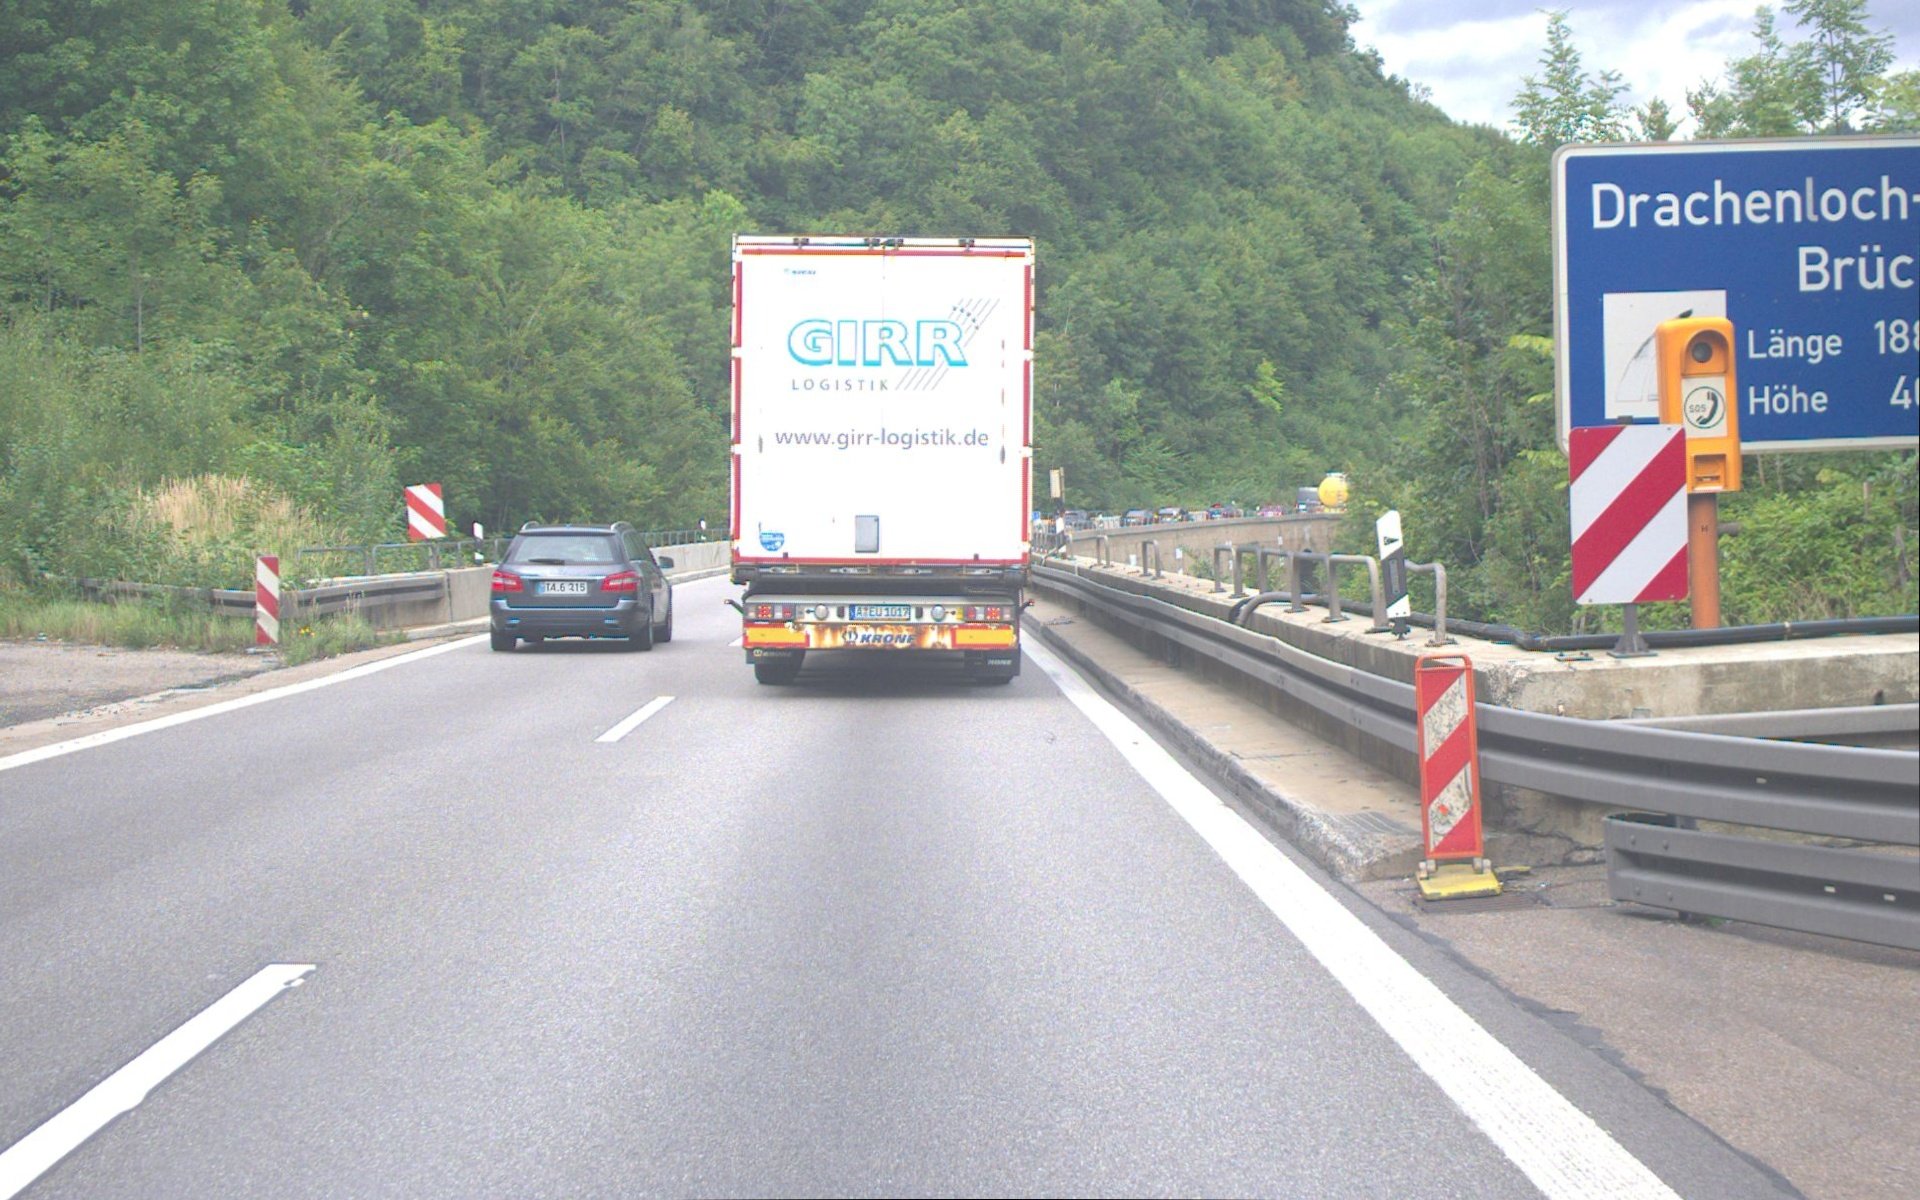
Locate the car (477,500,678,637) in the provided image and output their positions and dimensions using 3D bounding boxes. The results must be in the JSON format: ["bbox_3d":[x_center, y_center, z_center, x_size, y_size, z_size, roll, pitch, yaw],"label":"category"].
[{"bbox_3d":[-4.459,-0.391,40.641,1.883,1.504,4.419,-1,1,0],"label":"car"}]

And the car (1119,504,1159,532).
[{"bbox_3d":[11.116,-5.059,213.317,1.994,1.678,3.999,0,1,9],"label":"car"}]

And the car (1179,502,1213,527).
[{"bbox_3d":[16.429,-5.929,239.479,1.994,1.678,3.999,0,1,9],"label":"car"}]

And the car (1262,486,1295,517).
[{"bbox_3d":[22.042,-6.785,237.939,1.994,2.072,3.999,0,1,9],"label":"car"}]

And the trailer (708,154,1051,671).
[{"bbox_3d":[-0.708,-1.673,34.878,2.813,4.287,12.245,-1,1,0],"label":"trailer"}]

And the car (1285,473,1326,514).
[{"bbox_3d":[25.999,-7.976,258.610,2.365,2.956,6.848,0,1,11],"label":"car"}]
